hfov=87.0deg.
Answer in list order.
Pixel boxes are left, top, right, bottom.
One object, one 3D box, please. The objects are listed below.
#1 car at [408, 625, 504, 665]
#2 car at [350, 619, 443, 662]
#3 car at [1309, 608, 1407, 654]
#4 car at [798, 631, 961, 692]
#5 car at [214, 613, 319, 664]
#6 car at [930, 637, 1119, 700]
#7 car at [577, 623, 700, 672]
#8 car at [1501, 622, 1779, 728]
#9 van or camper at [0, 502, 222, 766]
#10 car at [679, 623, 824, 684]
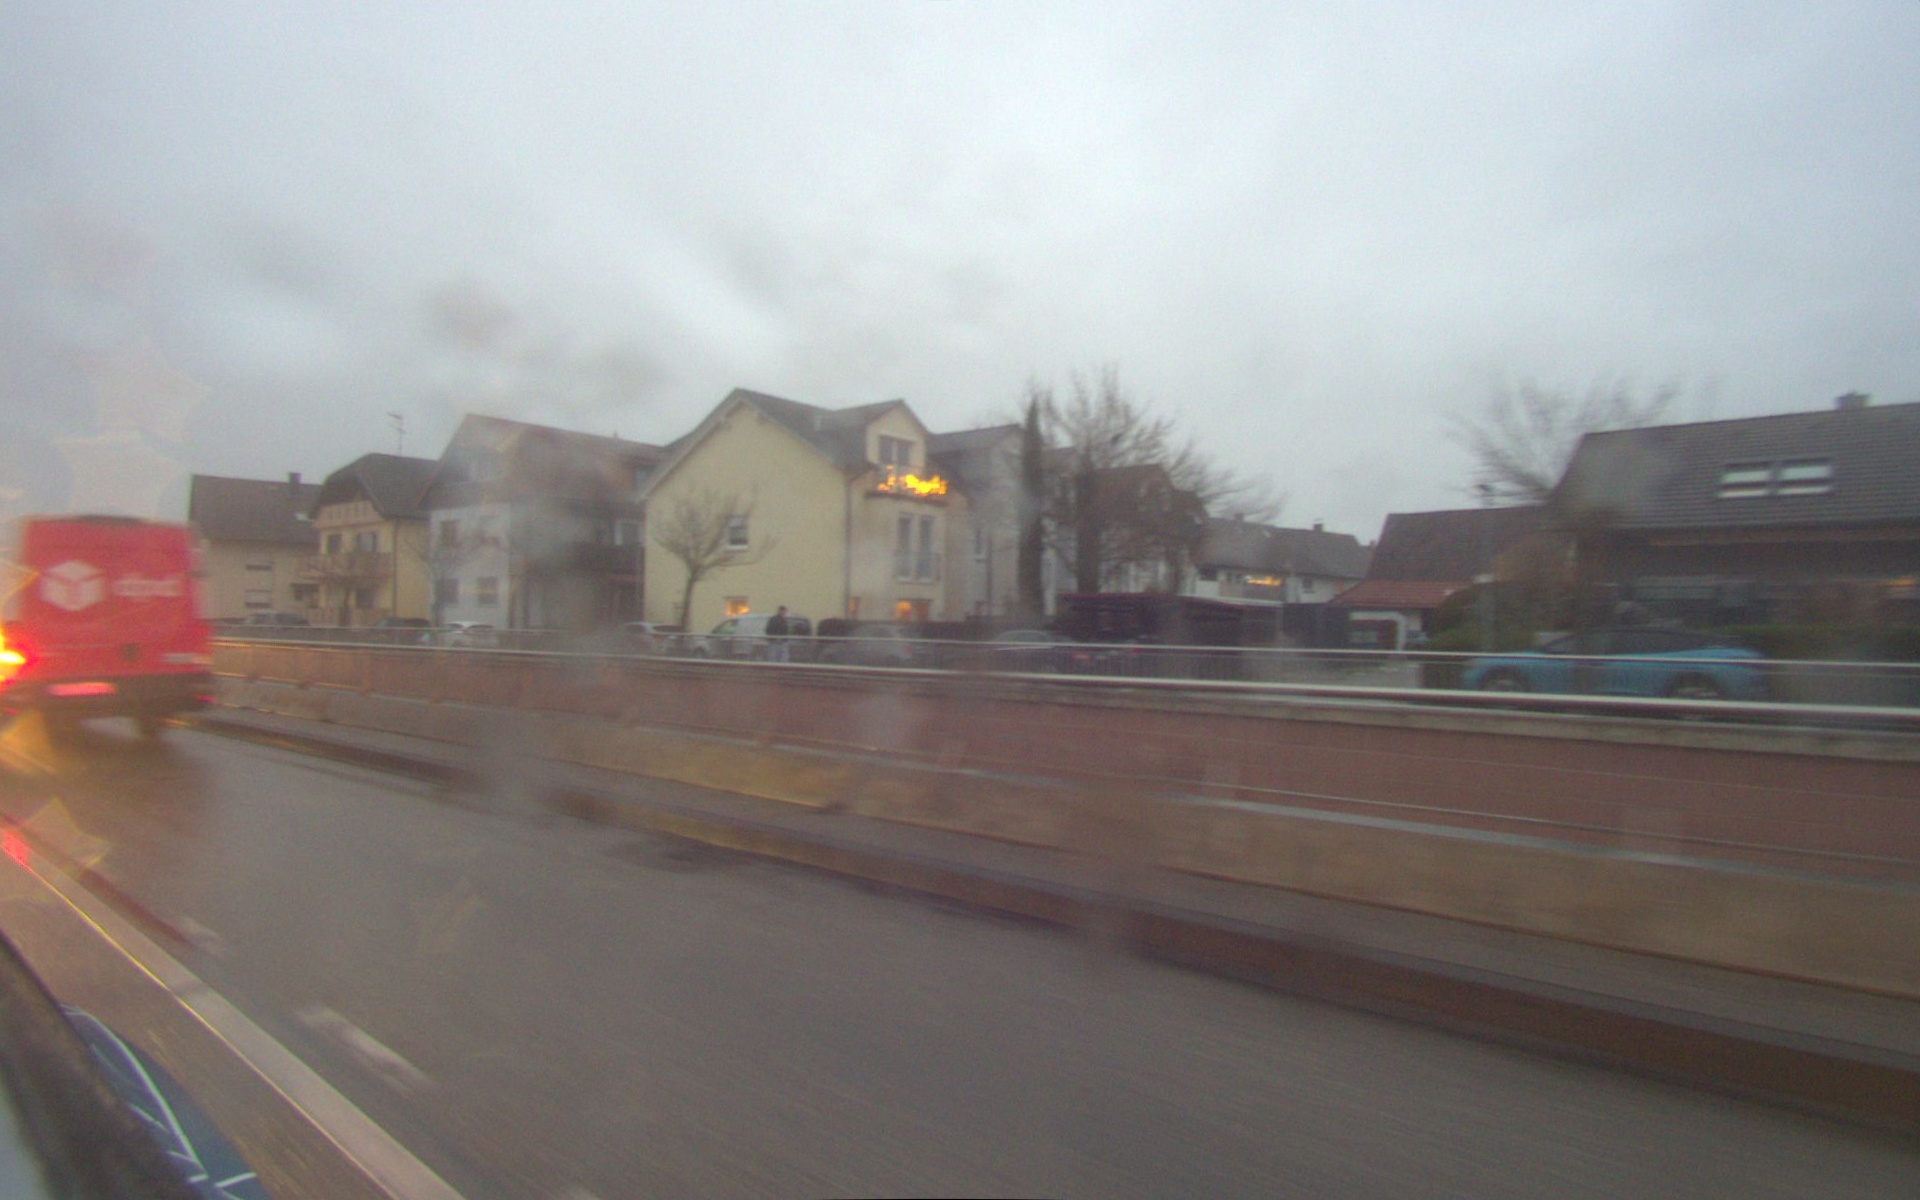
[{"bbox_3d":[-20.725,1.810,41.556,4.020,1.535,1.754,0,-2,34],"label":"car"},{"bbox_3d":[-24.306,1.725,43.616,3.989,1.694,1.843,0,1,33],"label":"car"},{"bbox_3d":[18.845,1.431,47.997,3.991,2.029,1.976,0,0,35],"label":"car"},{"bbox_3d":[-2.319,1.715,28.630,4.493,1.585,1.856,-2,-4,37],"label":"car"},{"bbox_3d":[-26.566,1.455,38.753,3.845,1.817,1.787,0,-2,30],"label":"car"},{"bbox_3d":[1.579,1.688,25.526,4.493,1.444,1.856,-2,-4,37],"label":"car"},{"bbox_3d":[-11.165,1.639,35.029,4.215,1.611,1.858,-2,-4,35],"label":"car"},{"bbox_3d":[11.556,1.223,17.382,3.814,1.592,1.550,0,-3,37],"label":"car"},{"bbox_3d":[-11.858,0.430,12.945,6.547,2.689,2.218,-1,-3,39],"label":"van or camper"},{"bbox_3d":[-6.540,1.655,31.625,4.490,1.792,1.858,-2,-4,35],"label":"car"}]
